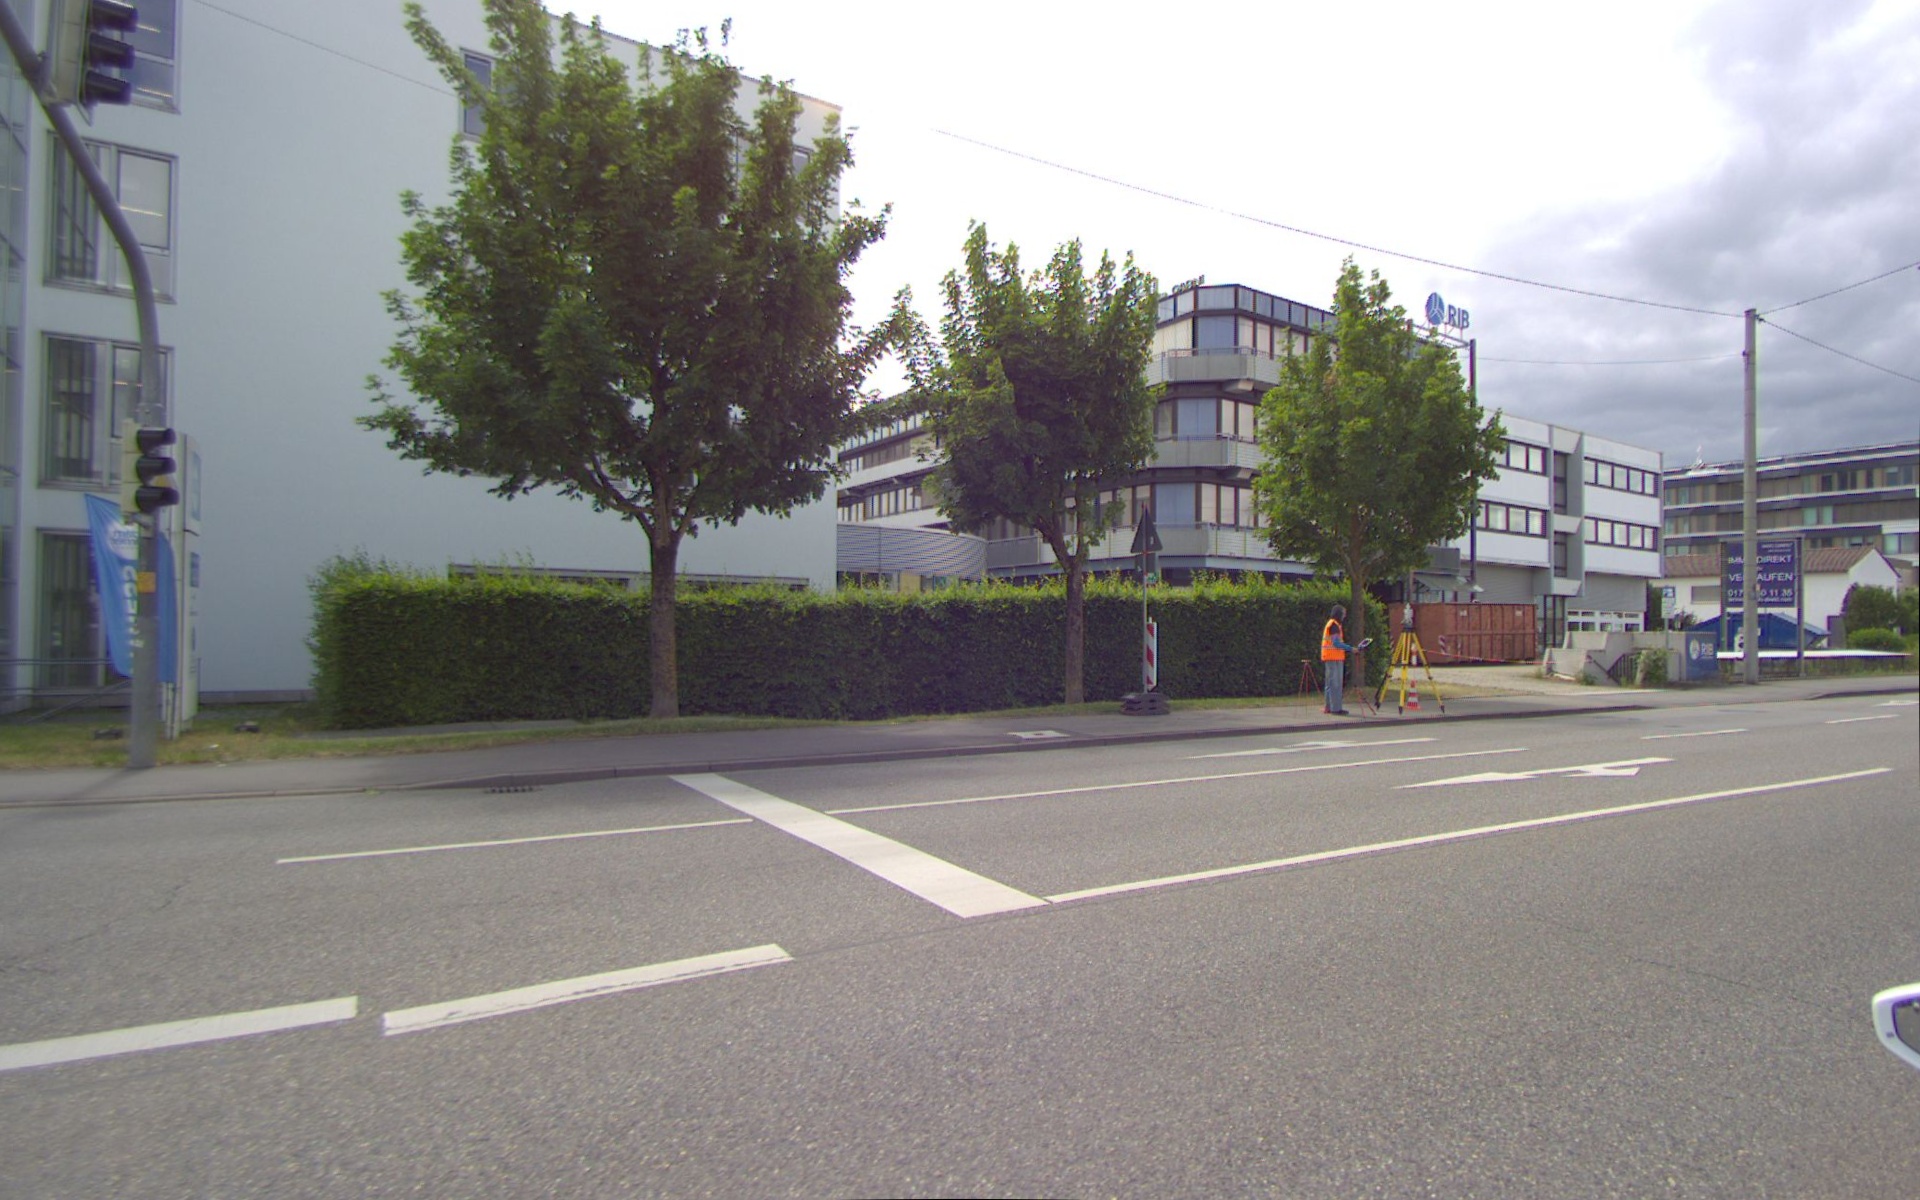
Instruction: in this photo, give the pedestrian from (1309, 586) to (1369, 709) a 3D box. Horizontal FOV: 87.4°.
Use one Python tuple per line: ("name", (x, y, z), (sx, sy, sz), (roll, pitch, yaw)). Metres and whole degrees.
("pedestrian", (6.514, 0.803, 17.289), (0.794, 2.040, 0.726), (2, 0, 13))
